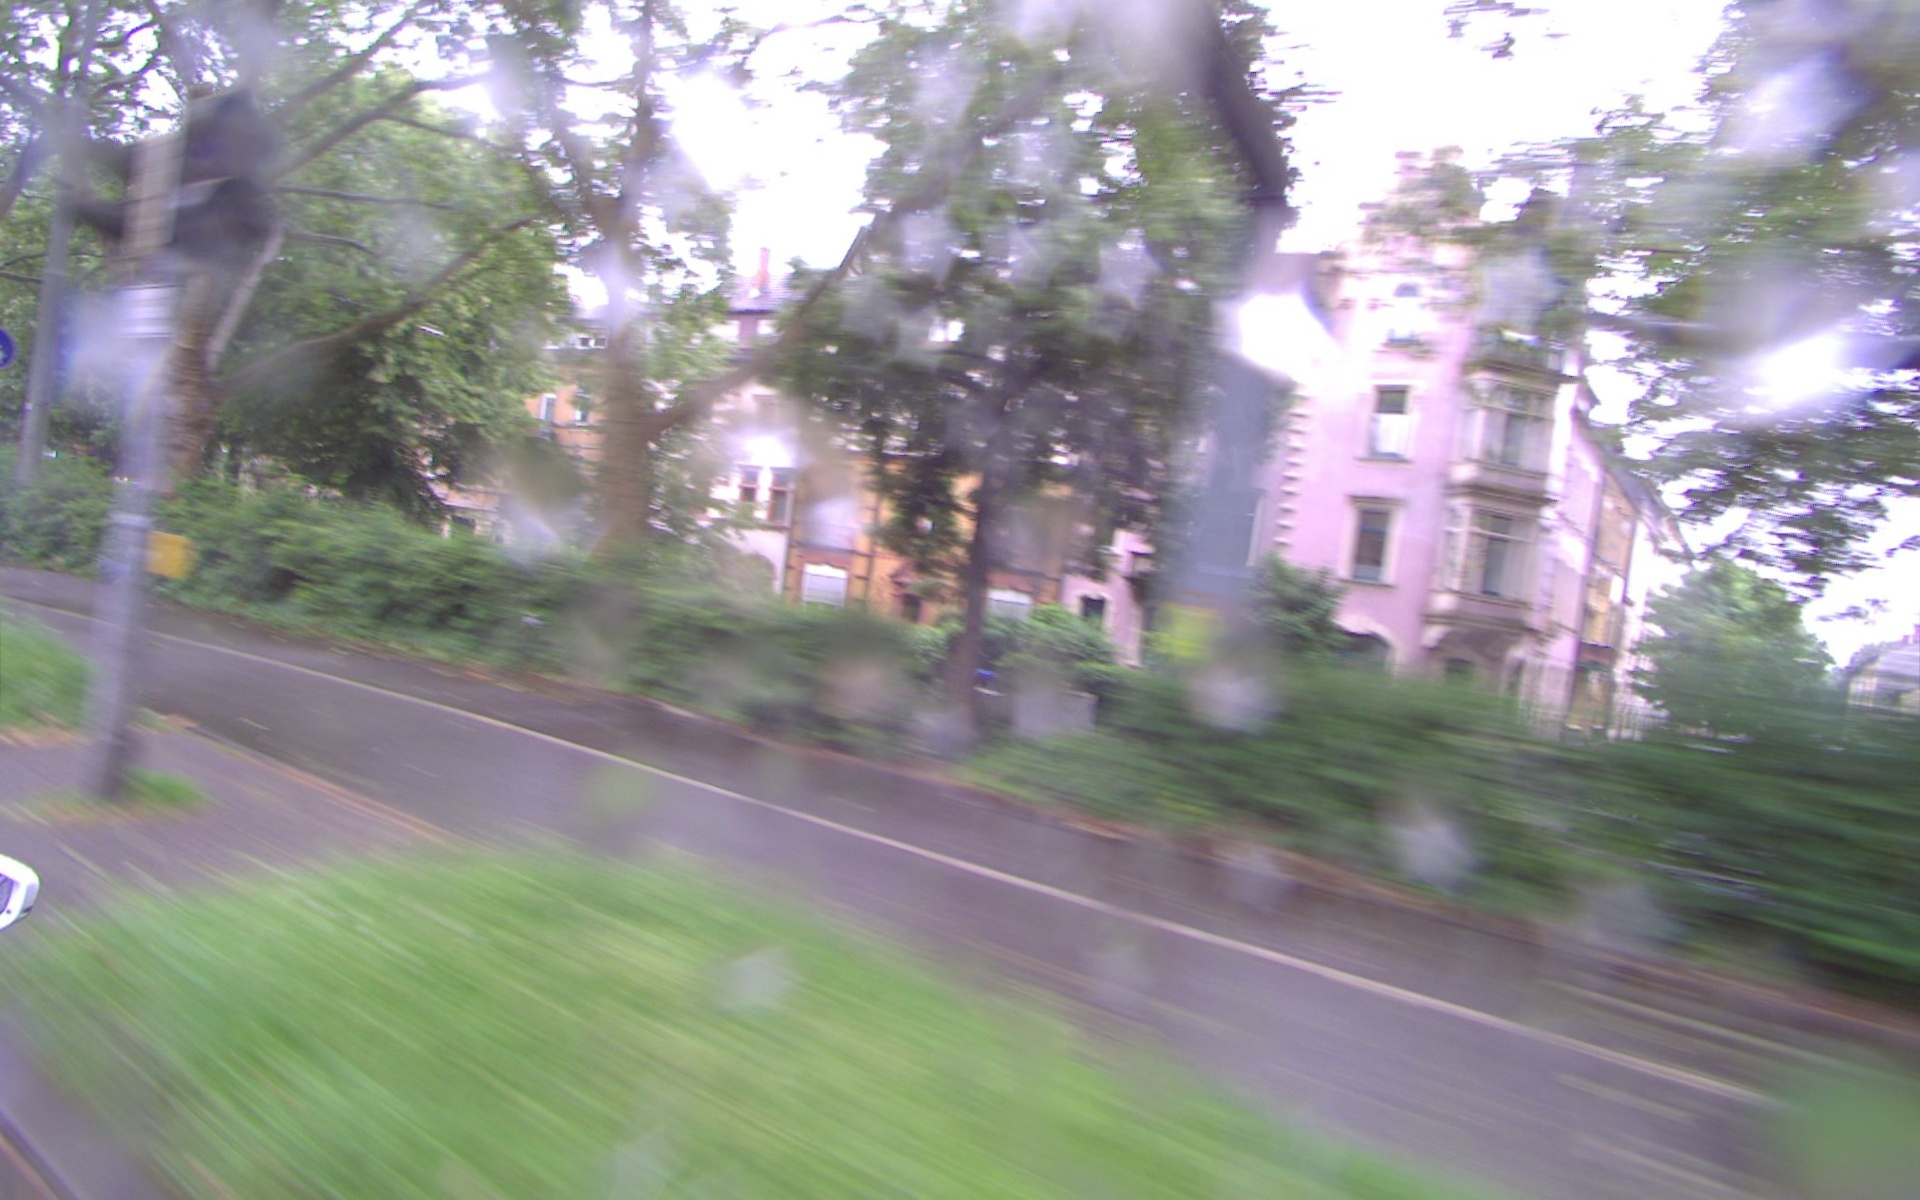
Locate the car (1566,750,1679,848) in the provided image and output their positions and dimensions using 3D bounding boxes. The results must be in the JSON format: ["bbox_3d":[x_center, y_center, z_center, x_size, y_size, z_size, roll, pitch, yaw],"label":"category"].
[{"bbox_3d":[15.835,4.688,24.240,1.894,1.679,3.994,6,-1,31],"label":"car"}]
